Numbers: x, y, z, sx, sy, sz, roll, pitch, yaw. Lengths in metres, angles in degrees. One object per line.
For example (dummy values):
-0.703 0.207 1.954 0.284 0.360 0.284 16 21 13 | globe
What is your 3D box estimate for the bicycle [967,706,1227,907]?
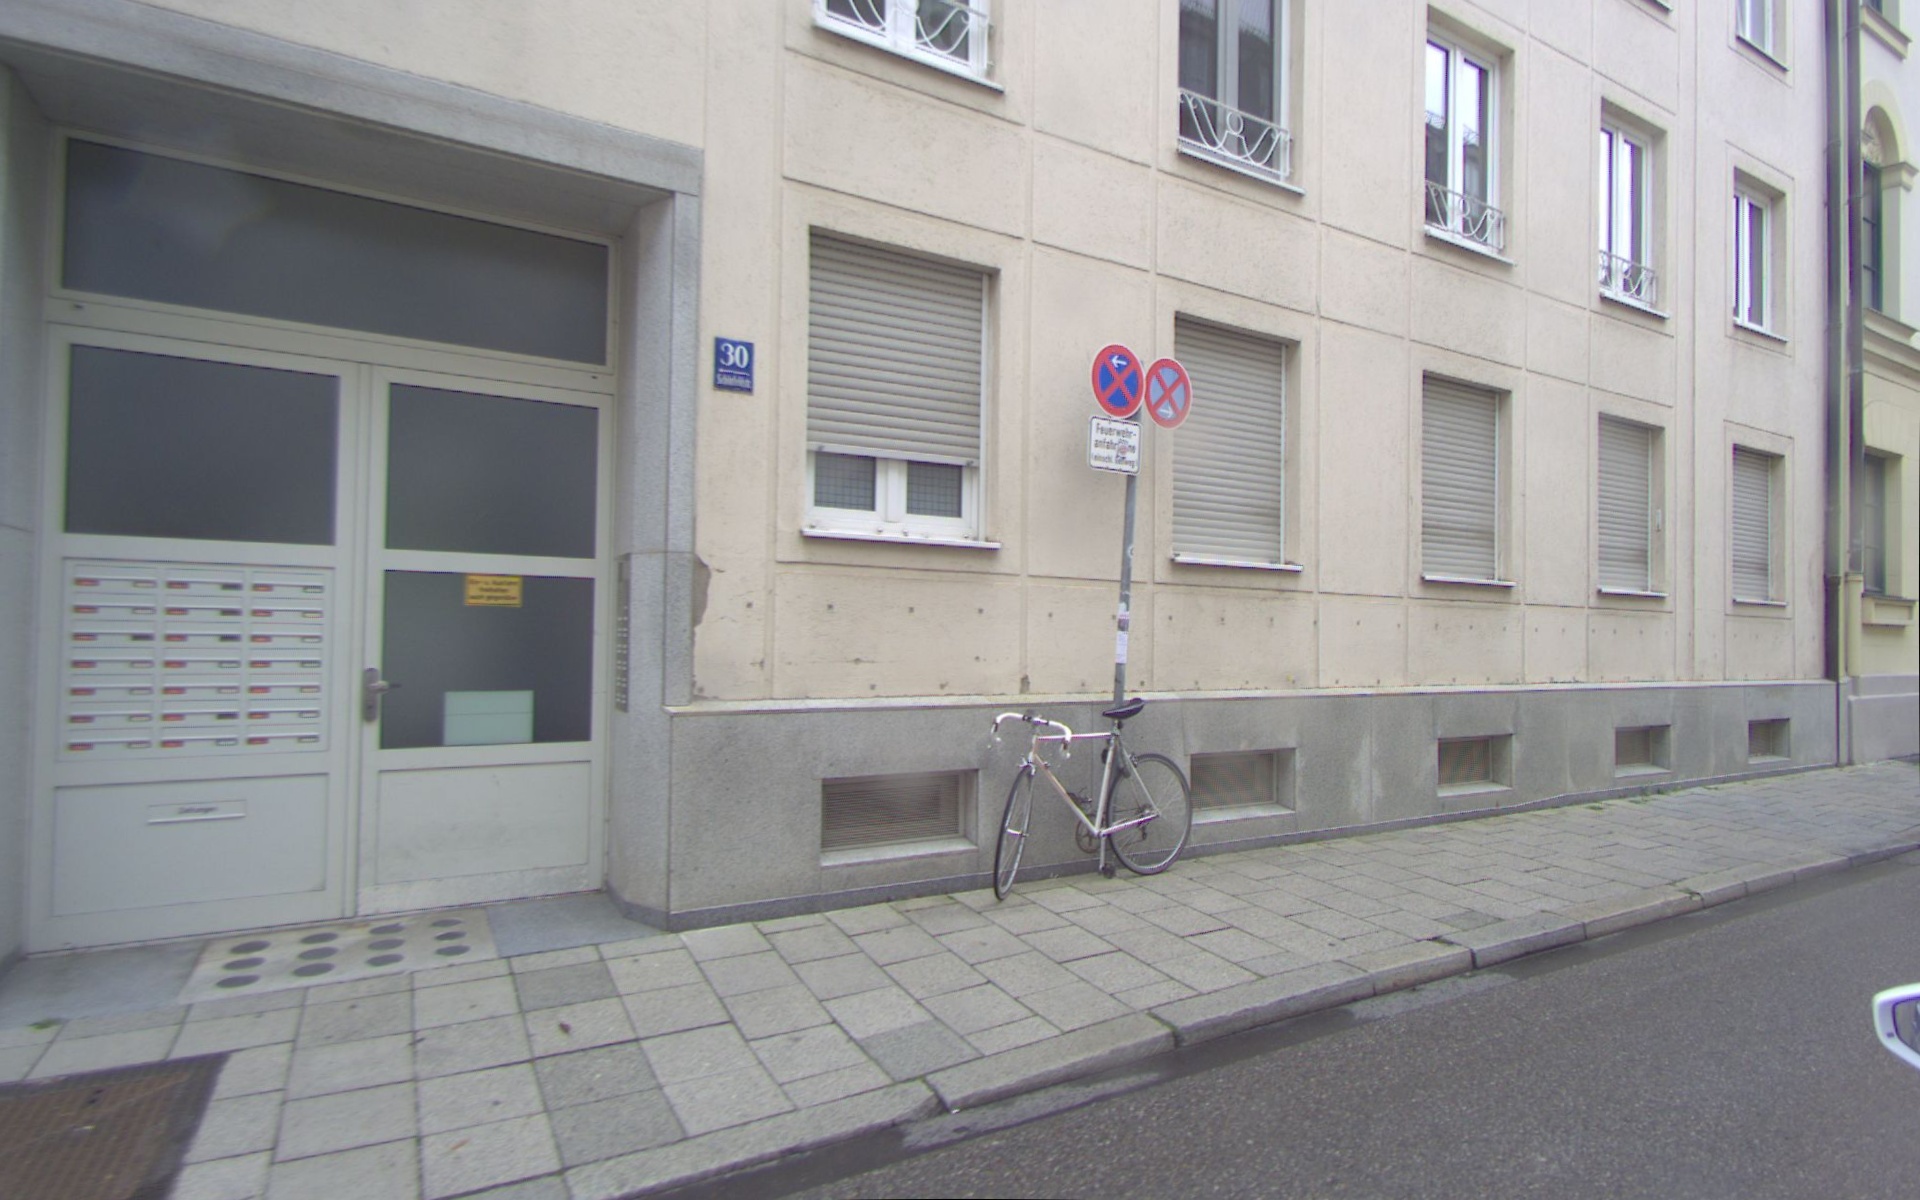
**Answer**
0.805 1.117 5.681 1.554 0.956 0.318 1 1 -29 | bicycle
